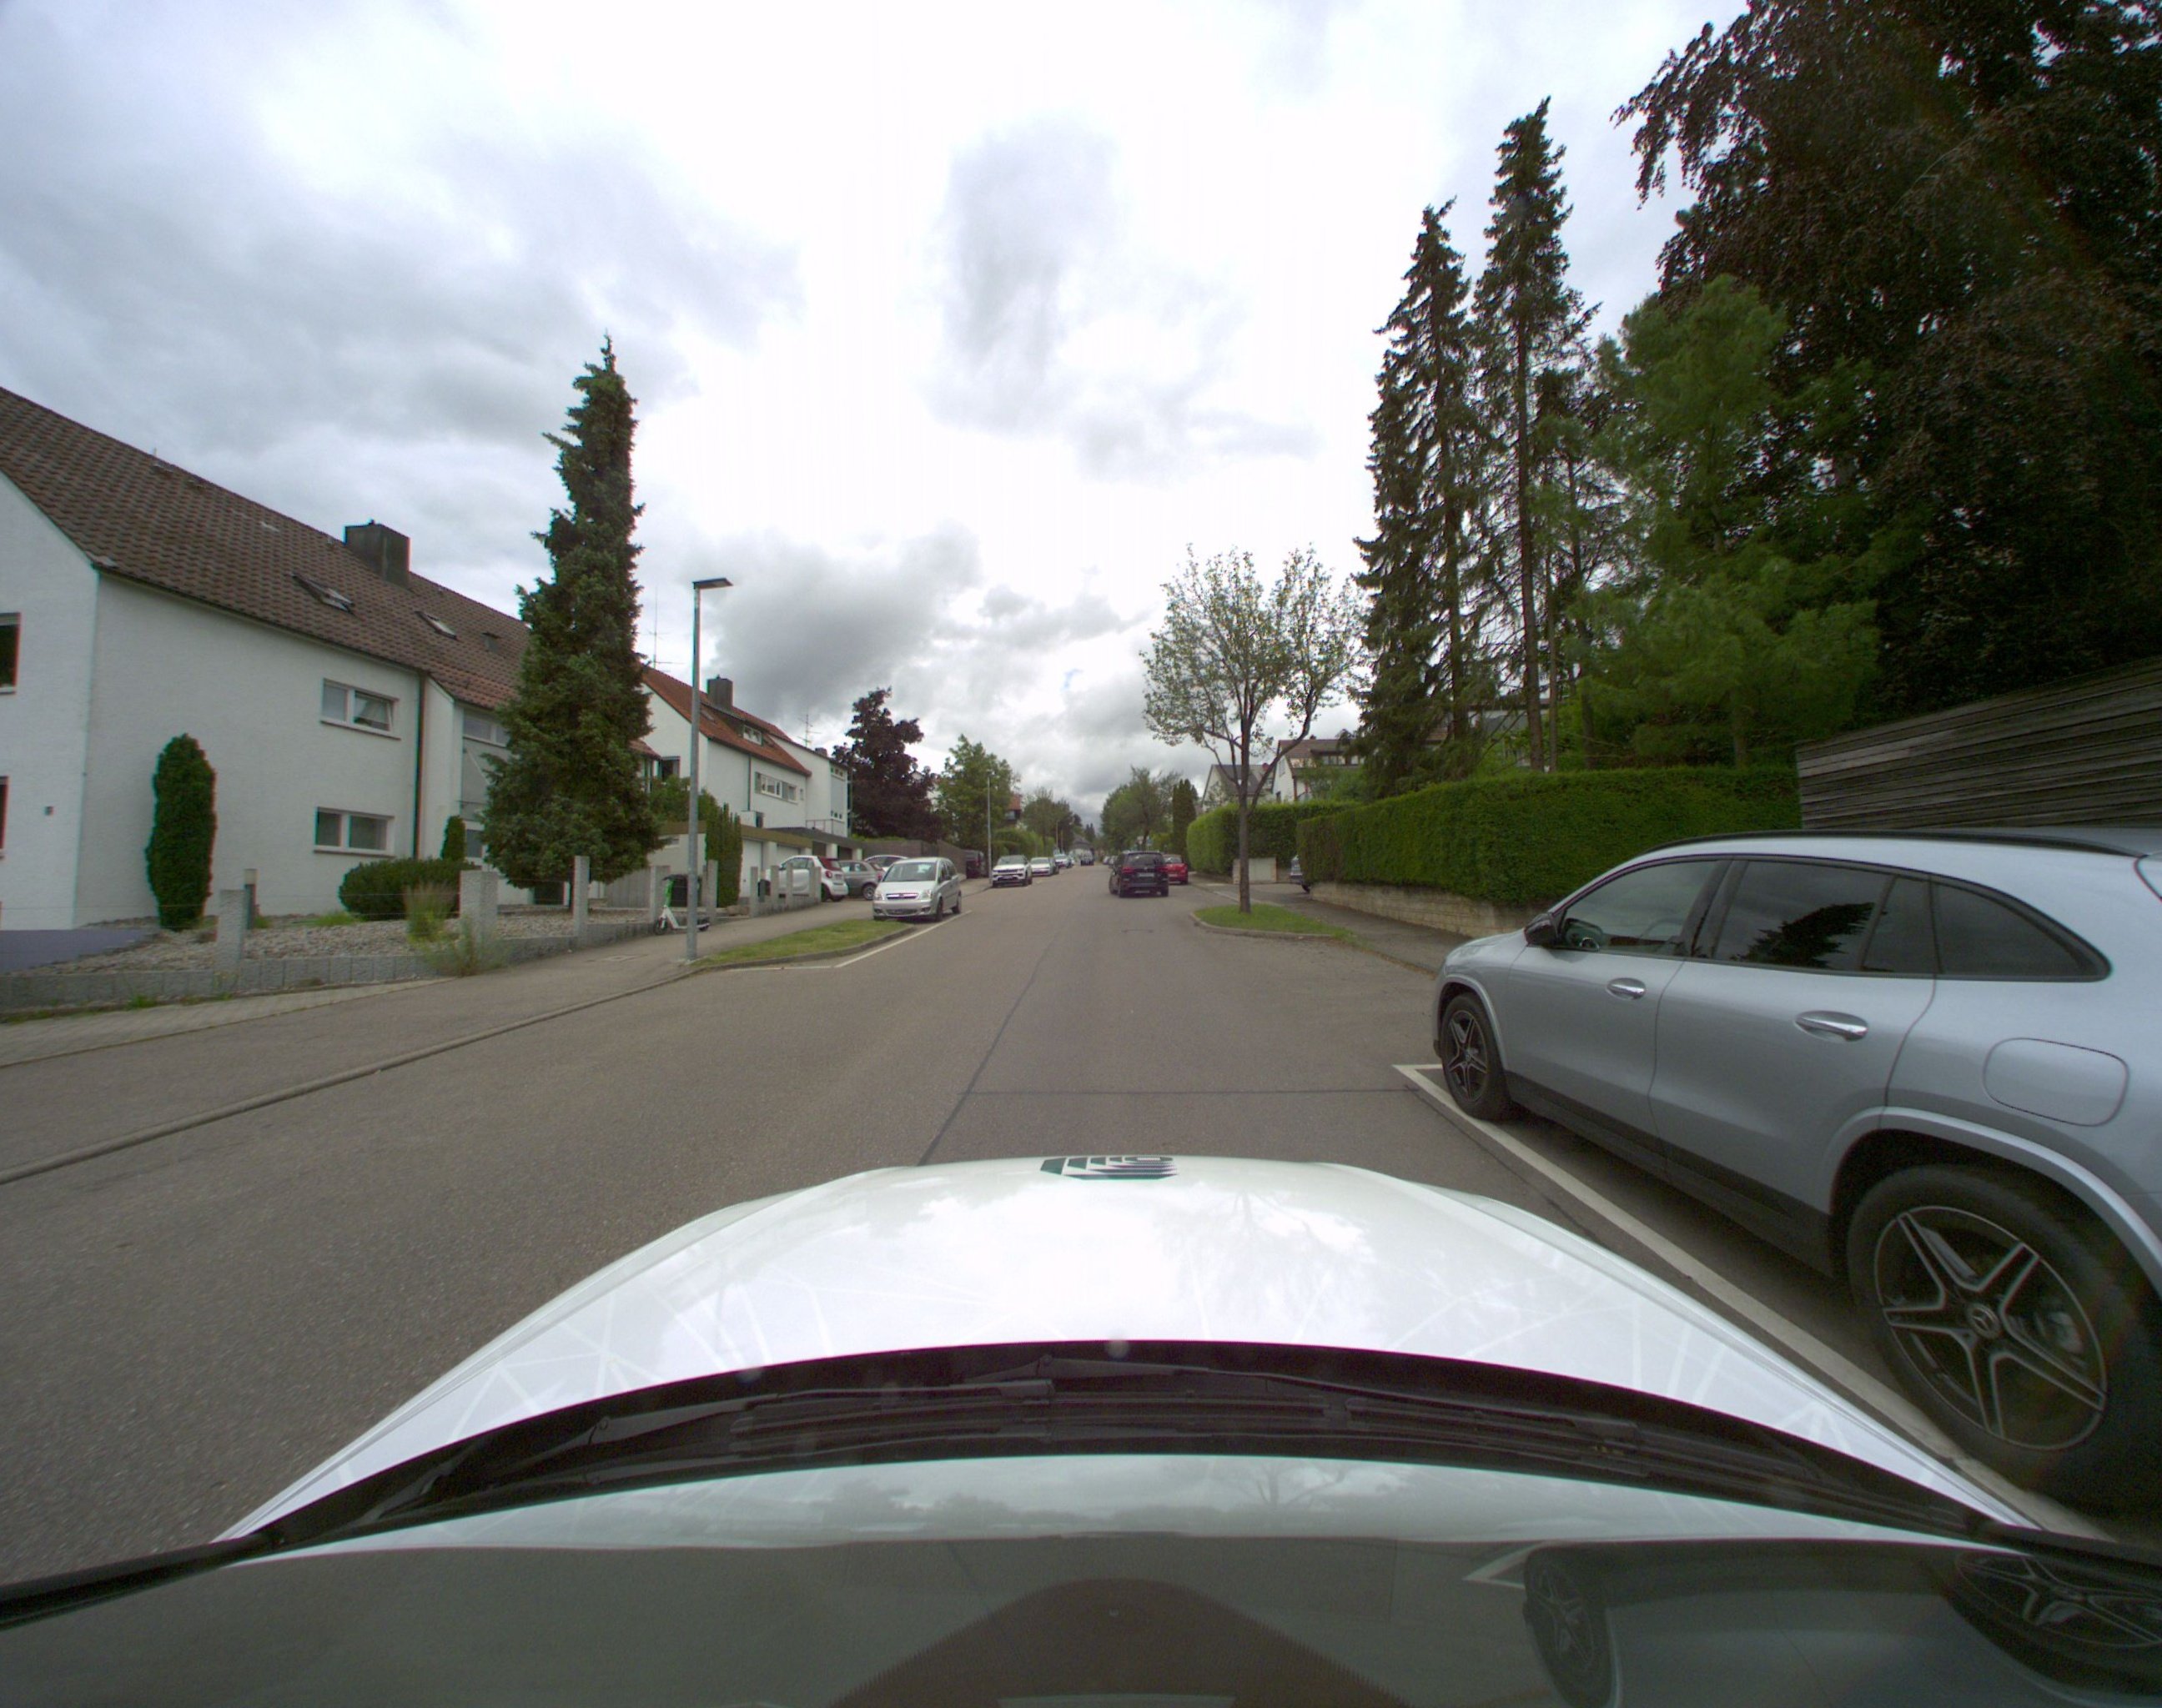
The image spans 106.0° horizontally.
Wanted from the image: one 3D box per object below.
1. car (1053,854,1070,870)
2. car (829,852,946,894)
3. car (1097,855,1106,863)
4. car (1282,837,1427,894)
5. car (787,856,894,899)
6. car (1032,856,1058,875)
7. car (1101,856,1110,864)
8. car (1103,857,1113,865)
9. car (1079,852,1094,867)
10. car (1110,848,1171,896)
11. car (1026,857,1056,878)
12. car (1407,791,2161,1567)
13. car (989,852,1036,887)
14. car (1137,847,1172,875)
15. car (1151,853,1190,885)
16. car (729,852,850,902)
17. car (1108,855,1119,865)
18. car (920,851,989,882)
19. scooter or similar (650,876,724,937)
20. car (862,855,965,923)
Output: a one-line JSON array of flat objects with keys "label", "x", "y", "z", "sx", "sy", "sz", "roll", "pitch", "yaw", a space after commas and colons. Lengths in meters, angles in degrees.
[{"label": "car", "x": -2.057, "y": 0.824, "z": 86.195, "sx": 1.717, "sy": 1.540, "sz": 3.999, "roll": -3, "pitch": 0, "yaw": 0}, {"label": "car", "x": -8.061, "y": 0.772, "z": 34.258, "sx": 4.396, "sy": 1.629, "sz": 1.911, "roll": 1, "pitch": 0, "yaw": 0}, {"label": "car", "x": 4.608, "y": 1.114, "z": 183.533, "sx": 1.639, "sy": 1.668, "sz": 3.464, "roll": -1, "pitch": 0, "yaw": -2}, {"label": "car", "x": 9.201, "y": 0.357, "z": 27.558, "sx": 4.204, "sy": 1.599, "sz": 1.877, "roll": -3, "pitch": 1, "yaw": -8}, {"label": "car", "x": -8.922, "y": 0.857, "z": 30.447, "sx": 3.415, "sy": 1.512, "sz": 1.693, "roll": 1, "pitch": -1, "yaw": 3}, {"label": "car", "x": -2.900, "y": 0.962, "z": 66.489, "sx": 1.720, "sy": 1.423, "sz": 4.081, "roll": -3, "pitch": -1, "yaw": 2}, {"label": "car", "x": 5.015, "y": 1.252, "z": 168.037, "sx": 1.661, "sy": 1.668, "sz": 3.464, "roll": -1, "pitch": 0, "yaw": -2}, {"label": "car", "x": 5.278, "y": 1.325, "z": 161.206, "sx": 1.661, "sy": 1.501, "sz": 3.464, "roll": -1, "pitch": 0, "yaw": -2}, {"label": "car", "x": 0.734, "y": 0.721, "z": 111.106, "sx": 1.878, "sy": 1.851, "sz": 4.403, "roll": -2, "pitch": 0, "yaw": 1}, {"label": "car", "x": 2.109, "y": 0.644, "z": 30.187, "sx": 1.842, "sy": 1.611, "sz": 4.308, "roll": -1, "pitch": -1, "yaw": -1}, {"label": "car", "x": -2.995, "y": 0.989, "z": 61.776, "sx": 1.831, "sy": 1.422, "sz": 4.409, "roll": -3, "pitch": 0, "yaw": 1}, {"label": "car", "x": 3.123, "y": 0.668, "z": 3.392, "sx": 1.849, "sy": 1.582, "sz": 4.171, "roll": -1, "pitch": -1, "yaw": 0}, {"label": "car", "x": -3.589, "y": 0.777, "z": 43.224, "sx": 1.830, "sy": 1.666, "sz": 4.411, "roll": -3, "pitch": 0, "yaw": 3}, {"label": "car", "x": 4.491, "y": 0.427, "z": 50.475, "sx": 1.985, "sy": 1.618, "sz": 4.516, "roll": 0, "pitch": 0, "yaw": 2}, {"label": "car", "x": 4.439, "y": 0.703, "z": 40.741, "sx": 1.655, "sy": 1.508, "sz": 3.760, "roll": -1, "pitch": 0, "yaw": 2}, {"label": "car", "x": -9.753, "y": 0.766, "z": 27.440, "sx": 3.415, "sy": 1.578, "sz": 1.658, "roll": 1, "pitch": -1, "yaw": 3}, {"label": "car", "x": 5.606, "y": 1.013, "z": 139.858, "sx": 1.661, "sy": 1.501, "sz": 3.464, "roll": -1, "pitch": 0, "yaw": -2}, {"label": "car", "x": -8.344, "y": 0.836, "z": 53.888, "sx": 4.048, "sy": 1.950, "sz": 2.005, "roll": -2, "pitch": -2, "yaw": 9}, {"label": "scooter or similar", "x": -8.027, "y": 1.037, "z": 16.637, "sx": 0.470, "sy": 1.148, "sz": 1.461, "roll": 0, "pitch": 0, "yaw": 18}, {"label": "car", "x": -4.292, "y": 0.840, "z": 21.478, "sx": 1.754, "sy": 1.563, "sz": 3.857, "roll": -3, "pitch": 0, "yaw": 2}]
